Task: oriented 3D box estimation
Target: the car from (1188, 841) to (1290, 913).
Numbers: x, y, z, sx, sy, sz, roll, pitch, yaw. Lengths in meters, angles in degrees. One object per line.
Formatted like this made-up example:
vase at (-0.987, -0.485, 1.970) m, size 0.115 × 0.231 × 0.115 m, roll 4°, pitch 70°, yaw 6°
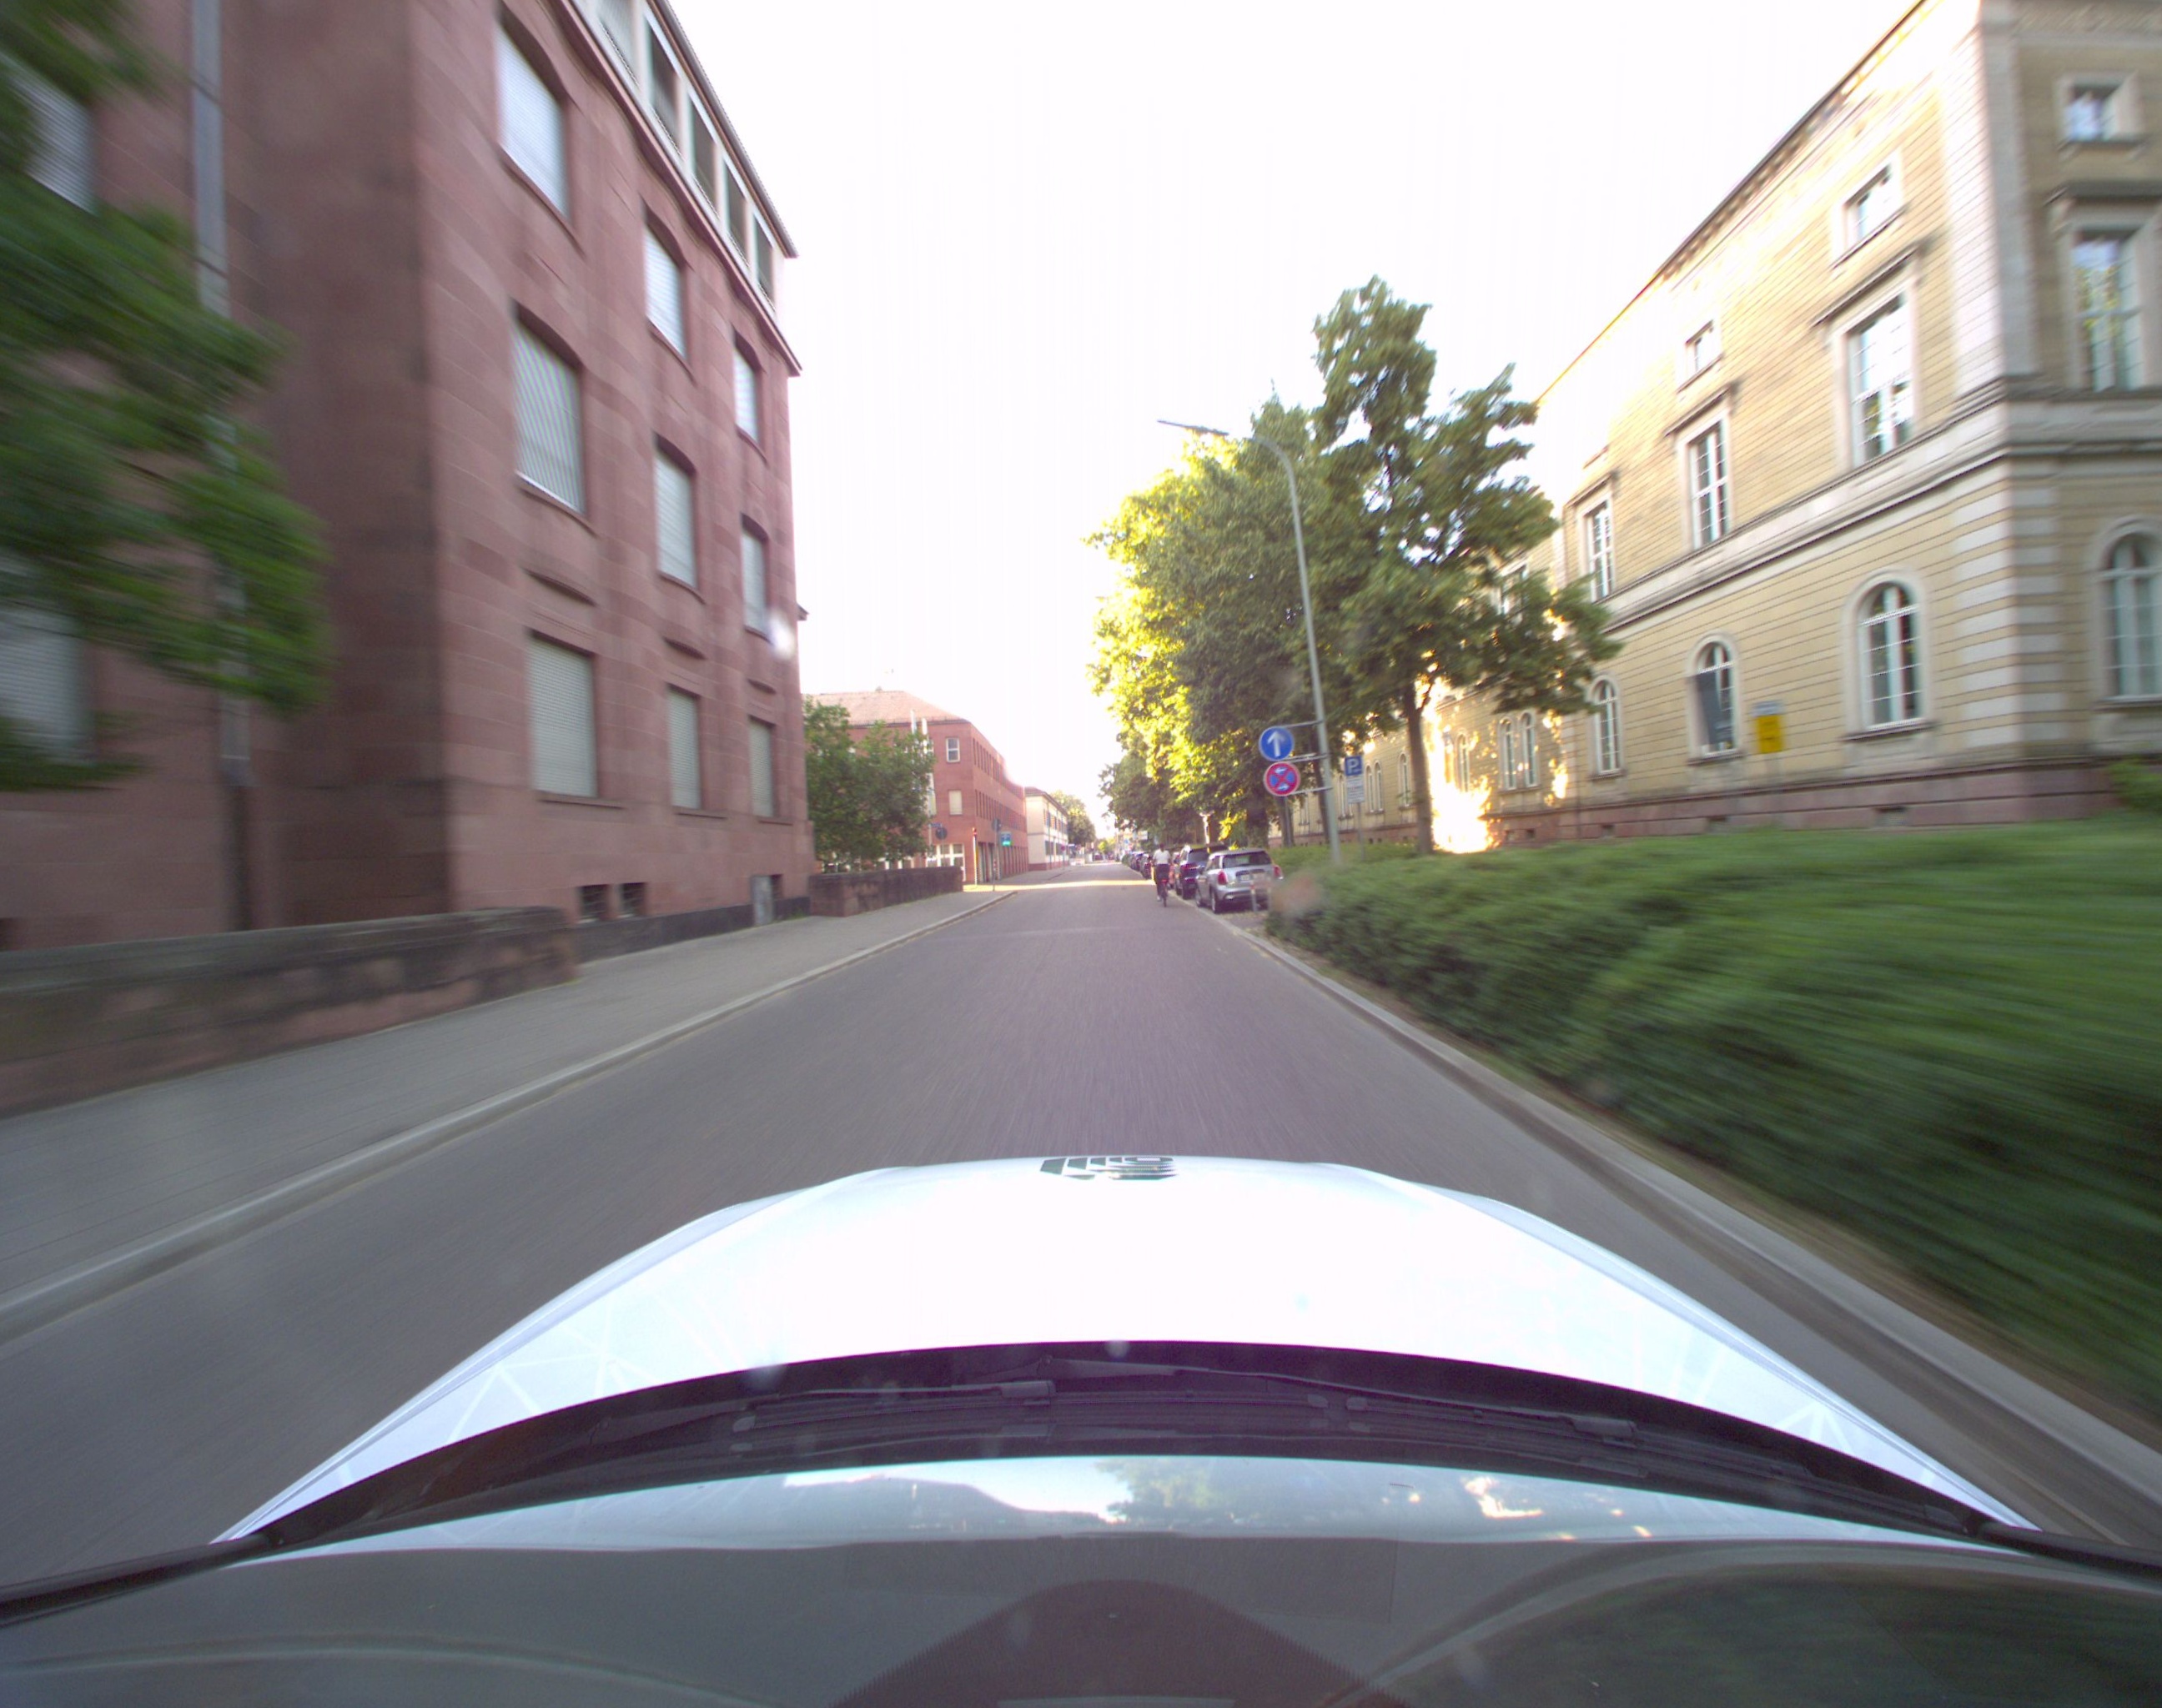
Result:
car at (3.763, 0.539, 19.993) m, size 1.680 × 1.447 × 3.671 m, roll -6°, pitch -1°, yaw 0°

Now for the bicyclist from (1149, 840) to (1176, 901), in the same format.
bicyclist at (2.272, 0.446, 22.830) m, size 0.637 × 1.667 × 0.842 m, roll -1°, pitch 0°, yaw 0°

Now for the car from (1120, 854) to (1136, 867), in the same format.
car at (7.431, 1.033, 129.976) m, size 2.273 × 1.854 × 4.910 m, roll -4°, pitch 0°, yaw 1°

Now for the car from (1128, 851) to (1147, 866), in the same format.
car at (6.663, 0.533, 96.798) m, size 1.987 × 1.629 × 4.001 m, roll -4°, pitch 0°, yaw 1°

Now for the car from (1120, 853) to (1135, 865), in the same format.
car at (8.973, 0.900, 158.058) m, size 2.484 × 2.196 × 4.910 m, roll -4°, pitch 0°, yaw 1°

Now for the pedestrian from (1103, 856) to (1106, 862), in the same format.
pedestrian at (5.320, 1.116, 187.096) m, size 0.532 × 1.472 × 0.448 m, roll -4°, pitch 0°, yaw 0°

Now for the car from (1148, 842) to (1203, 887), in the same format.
car at (4.235, 0.446, 36.901) m, size 1.987 × 1.816 × 4.001 m, roll -4°, pitch 0°, yaw 1°

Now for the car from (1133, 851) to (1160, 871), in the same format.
car at (5.736, 0.626, 71.746) m, size 1.987 × 1.585 × 4.001 m, roll -4°, pitch 0°, yaw 1°

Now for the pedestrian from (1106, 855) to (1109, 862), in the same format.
pedestrian at (6.077, 1.070, 187.072) m, size 0.532 × 1.472 × 0.448 m, roll -4°, pitch 0°, yaw 0°

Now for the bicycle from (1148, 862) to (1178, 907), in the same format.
bicycle at (2.279, 0.834, 22.902) m, size 0.636 × 1.193 × 1.876 m, roll -1°, pitch 0°, yaw 0°

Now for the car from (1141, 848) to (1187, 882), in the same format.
car at (4.341, 0.561, 42.925) m, size 1.987 × 1.596 × 4.001 m, roll -4°, pitch 0°, yaw 1°

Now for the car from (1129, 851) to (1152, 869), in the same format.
car at (5.915, 0.633, 81.776) m, size 1.987 × 1.629 × 4.001 m, roll -4°, pitch 0°, yaw 1°

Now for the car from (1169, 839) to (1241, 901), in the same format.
car at (3.893, 0.462, 26.233) m, size 1.709 × 1.712 × 4.476 m, roll -4°, pitch 0°, yaw 3°

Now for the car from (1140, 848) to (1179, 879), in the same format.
car at (4.730, 0.542, 49.536) m, size 1.987 × 1.706 × 4.001 m, roll -4°, pitch 0°, yaw 1°

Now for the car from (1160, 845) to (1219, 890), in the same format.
car at (4.181, 0.507, 31.969) m, size 1.710 × 1.537 × 4.048 m, roll -4°, pitch 0°, yaw 0°

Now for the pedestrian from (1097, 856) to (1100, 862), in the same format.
pedestrian at (4.117, 1.214, 189.355) m, size 0.532 × 1.472 × 0.448 m, roll -4°, pitch 0°, yaw 0°

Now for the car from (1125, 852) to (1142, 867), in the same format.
car at (6.886, 0.708, 107.776) m, size 1.987 × 1.749 × 4.001 m, roll -4°, pitch 0°, yaw 1°
